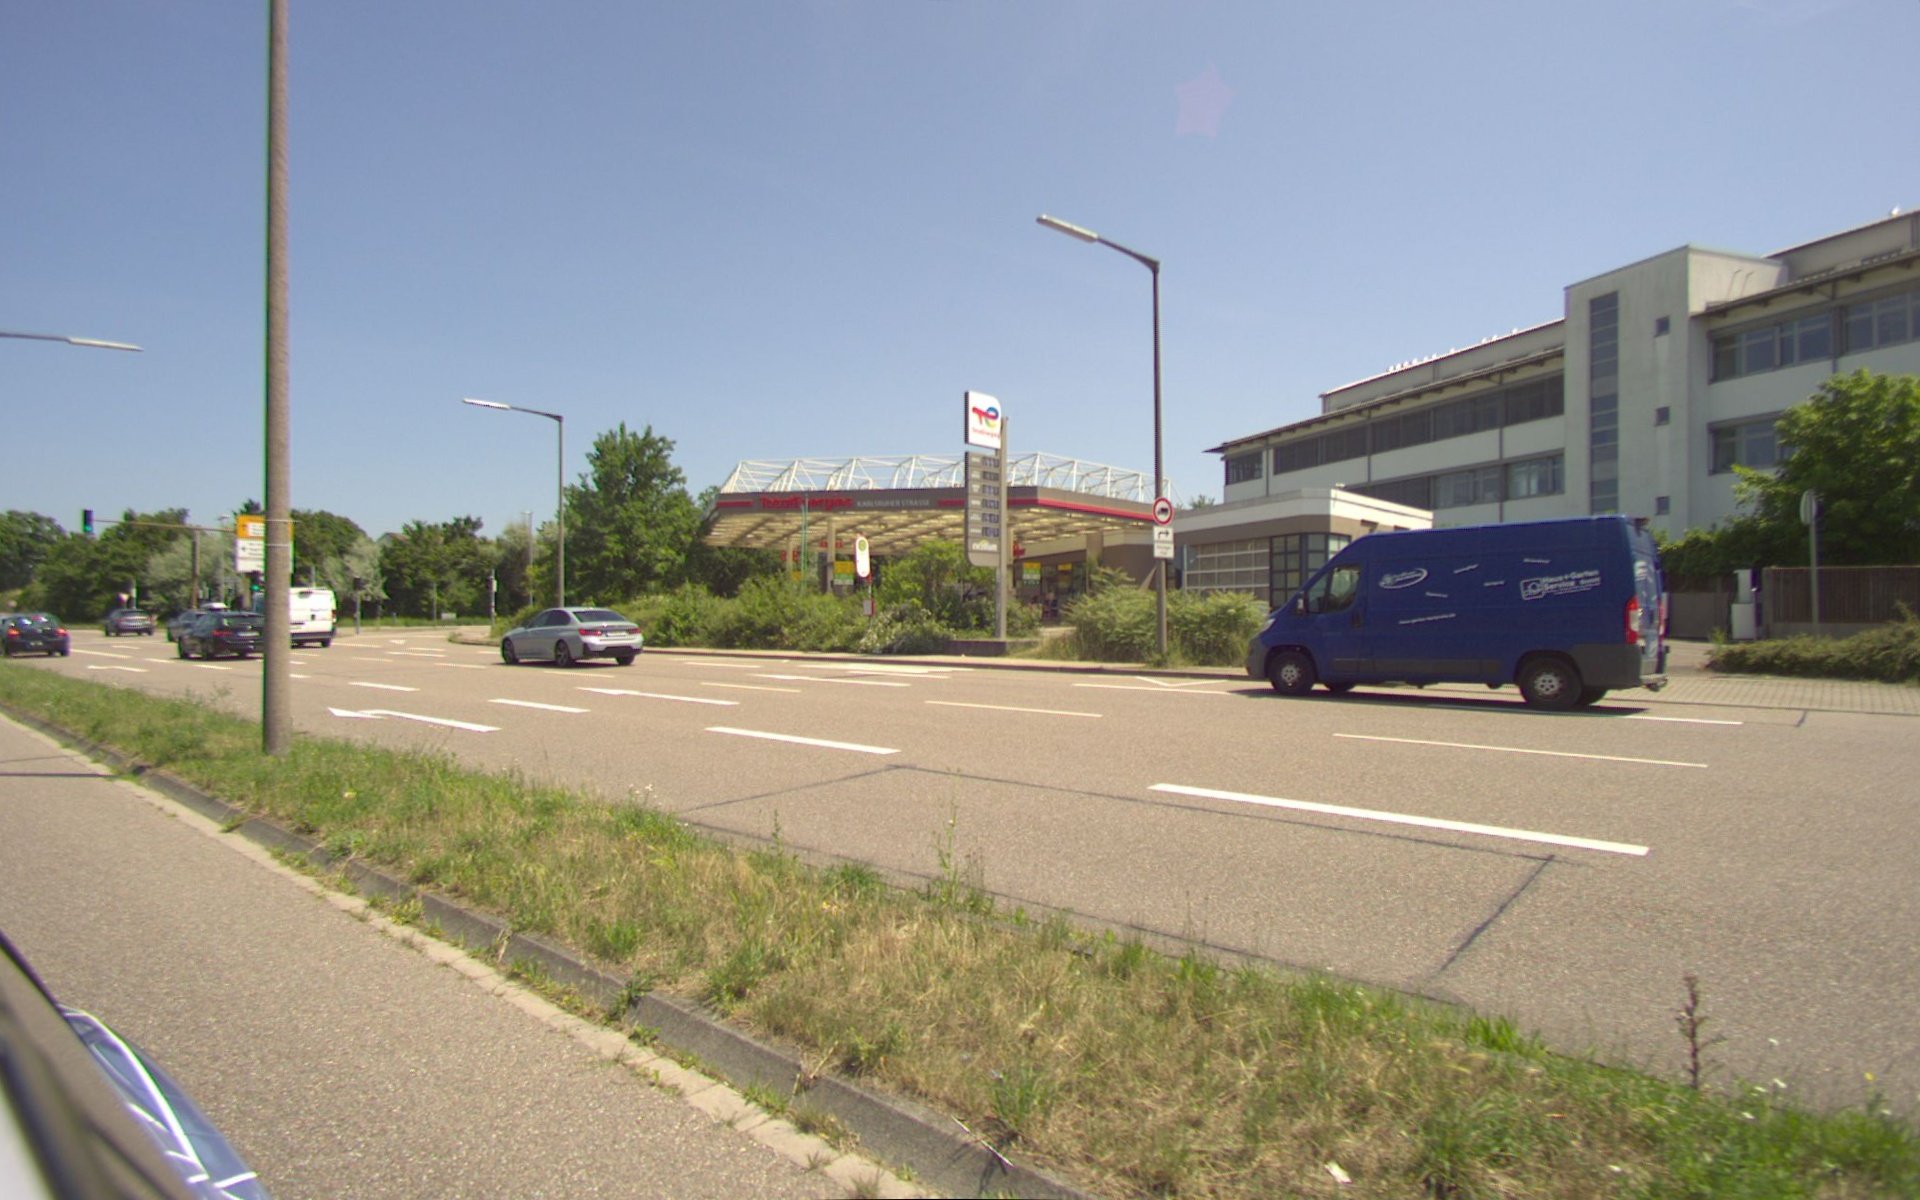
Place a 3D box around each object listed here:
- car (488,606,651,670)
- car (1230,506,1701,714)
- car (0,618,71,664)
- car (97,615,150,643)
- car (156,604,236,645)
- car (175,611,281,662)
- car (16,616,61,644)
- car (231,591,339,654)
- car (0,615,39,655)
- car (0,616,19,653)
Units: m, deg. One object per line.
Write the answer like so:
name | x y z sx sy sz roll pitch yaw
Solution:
car | -9.893 0.923 25.438 4.849 1.460 1.812 -1 -1 41
car | 6.994 0.165 14.567 5.673 2.430 2.149 -1 -1 44
car | -31.860 1.344 34.591 4.189 1.445 1.658 -1 0 41
car | -48.831 1.659 59.060 3.995 1.551 1.642 -1 0 39
car | -36.119 1.125 47.814 5.018 1.763 1.945 -1 1 40
car | -22.625 1.089 31.214 4.563 1.469 1.712 -1 -1 42
car | -51.073 1.639 56.084 3.503 1.456 1.432 -1 0 40
car | -26.670 0.848 39.912 5.446 2.290 2.226 -1 0 41
car | -36.194 1.330 38.201 3.849 1.434 1.545 -2 -1 39
car | -41.379 1.450 42.888 3.995 1.502 1.642 -1 -1 39
